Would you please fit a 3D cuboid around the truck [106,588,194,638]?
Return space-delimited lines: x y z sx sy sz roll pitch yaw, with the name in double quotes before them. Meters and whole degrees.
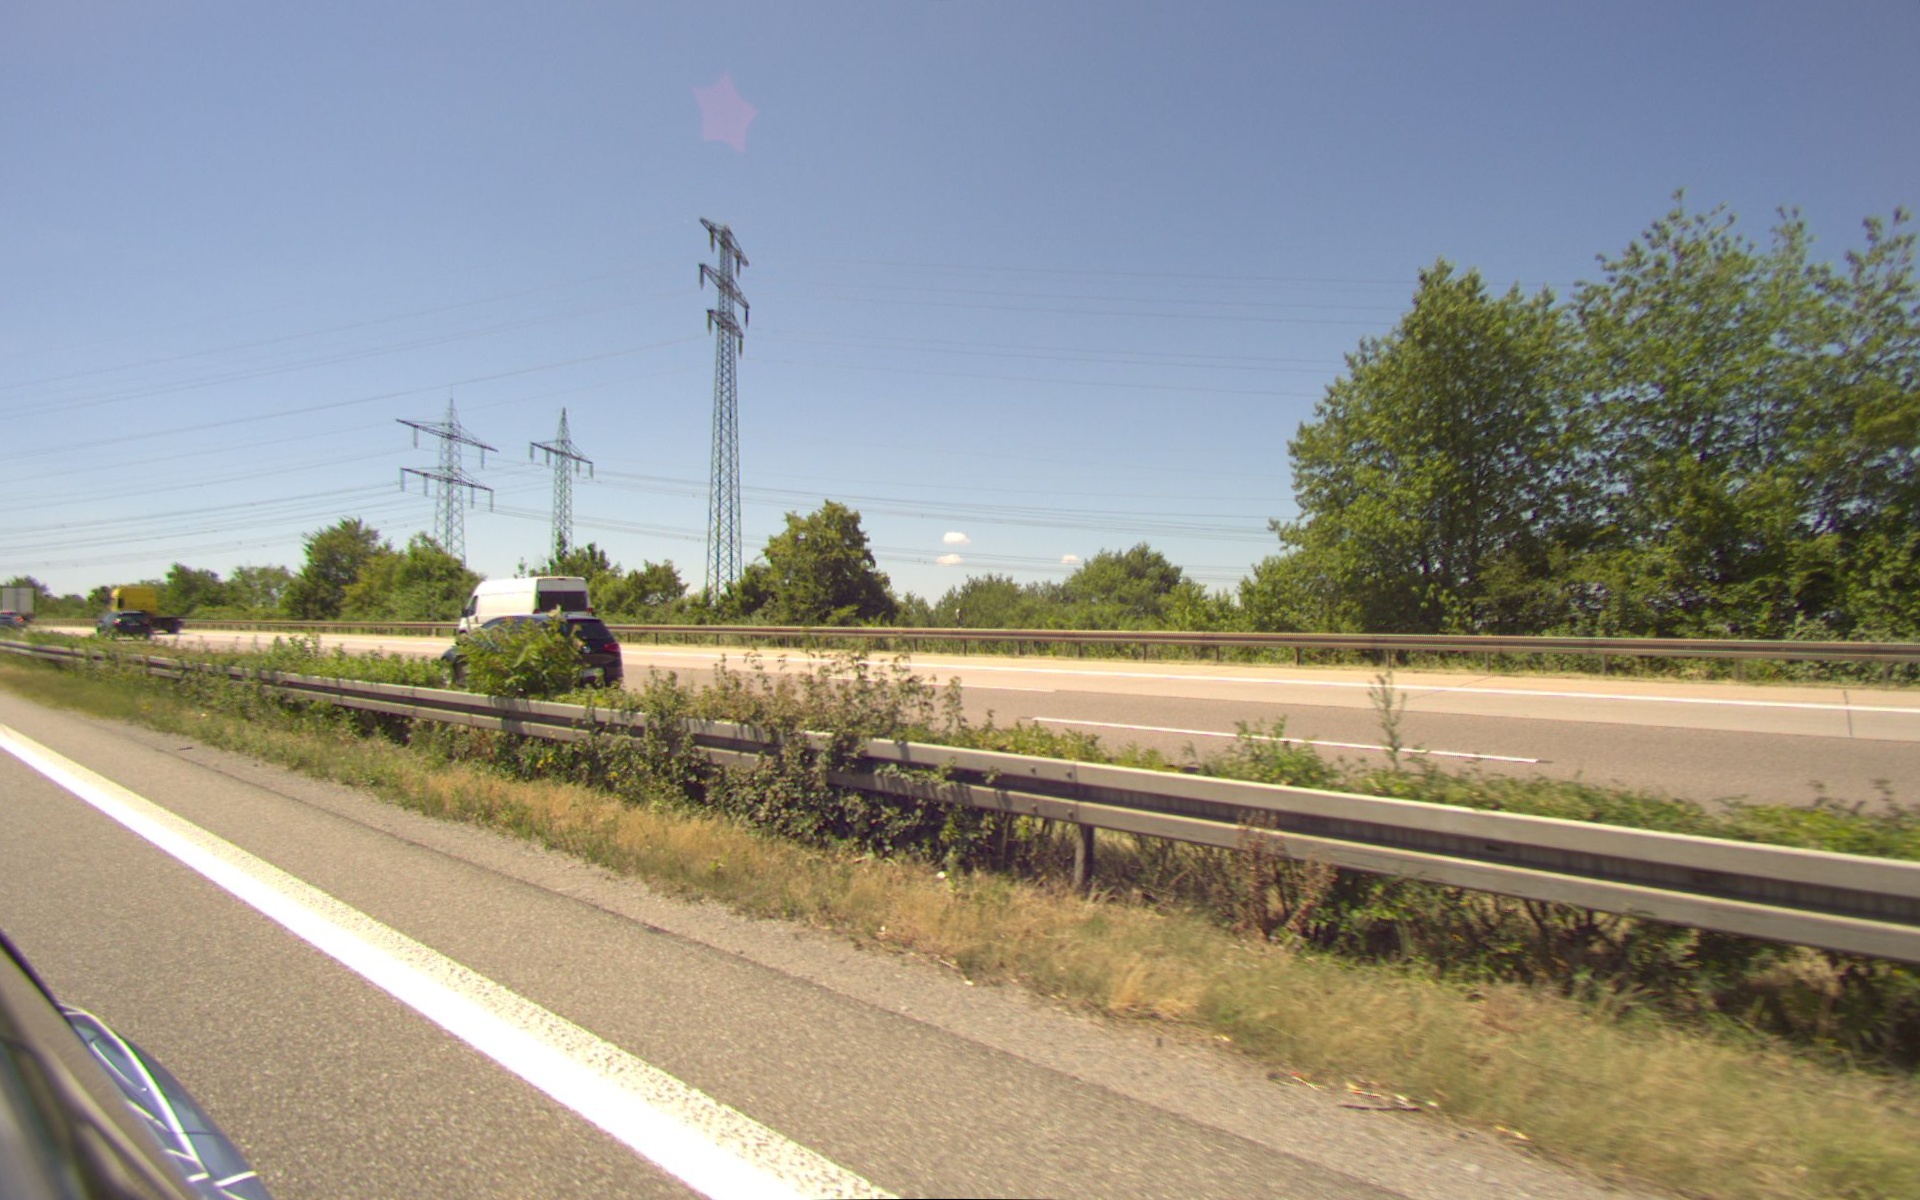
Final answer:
"truck" -53.872 0.877 67.187 9.655 3.176 2.497 -1 -1 38

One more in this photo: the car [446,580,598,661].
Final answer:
"car" -14.933 0.672 34.268 6.328 2.496 2.110 -1 -1 40

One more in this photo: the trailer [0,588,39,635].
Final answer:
"trailer" -93.195 1.238 98.732 13.619 4.290 2.807 -2 -1 38

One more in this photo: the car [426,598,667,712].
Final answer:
"car" -7.198 0.851 17.401 4.604 1.711 1.973 -1 -1 41

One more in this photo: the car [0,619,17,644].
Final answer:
"car" -54.815 1.755 57.289 3.825 1.364 1.615 -1 -1 39

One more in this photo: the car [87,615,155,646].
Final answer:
"car" -43.894 1.581 52.917 4.231 1.521 1.959 -1 -1 39
